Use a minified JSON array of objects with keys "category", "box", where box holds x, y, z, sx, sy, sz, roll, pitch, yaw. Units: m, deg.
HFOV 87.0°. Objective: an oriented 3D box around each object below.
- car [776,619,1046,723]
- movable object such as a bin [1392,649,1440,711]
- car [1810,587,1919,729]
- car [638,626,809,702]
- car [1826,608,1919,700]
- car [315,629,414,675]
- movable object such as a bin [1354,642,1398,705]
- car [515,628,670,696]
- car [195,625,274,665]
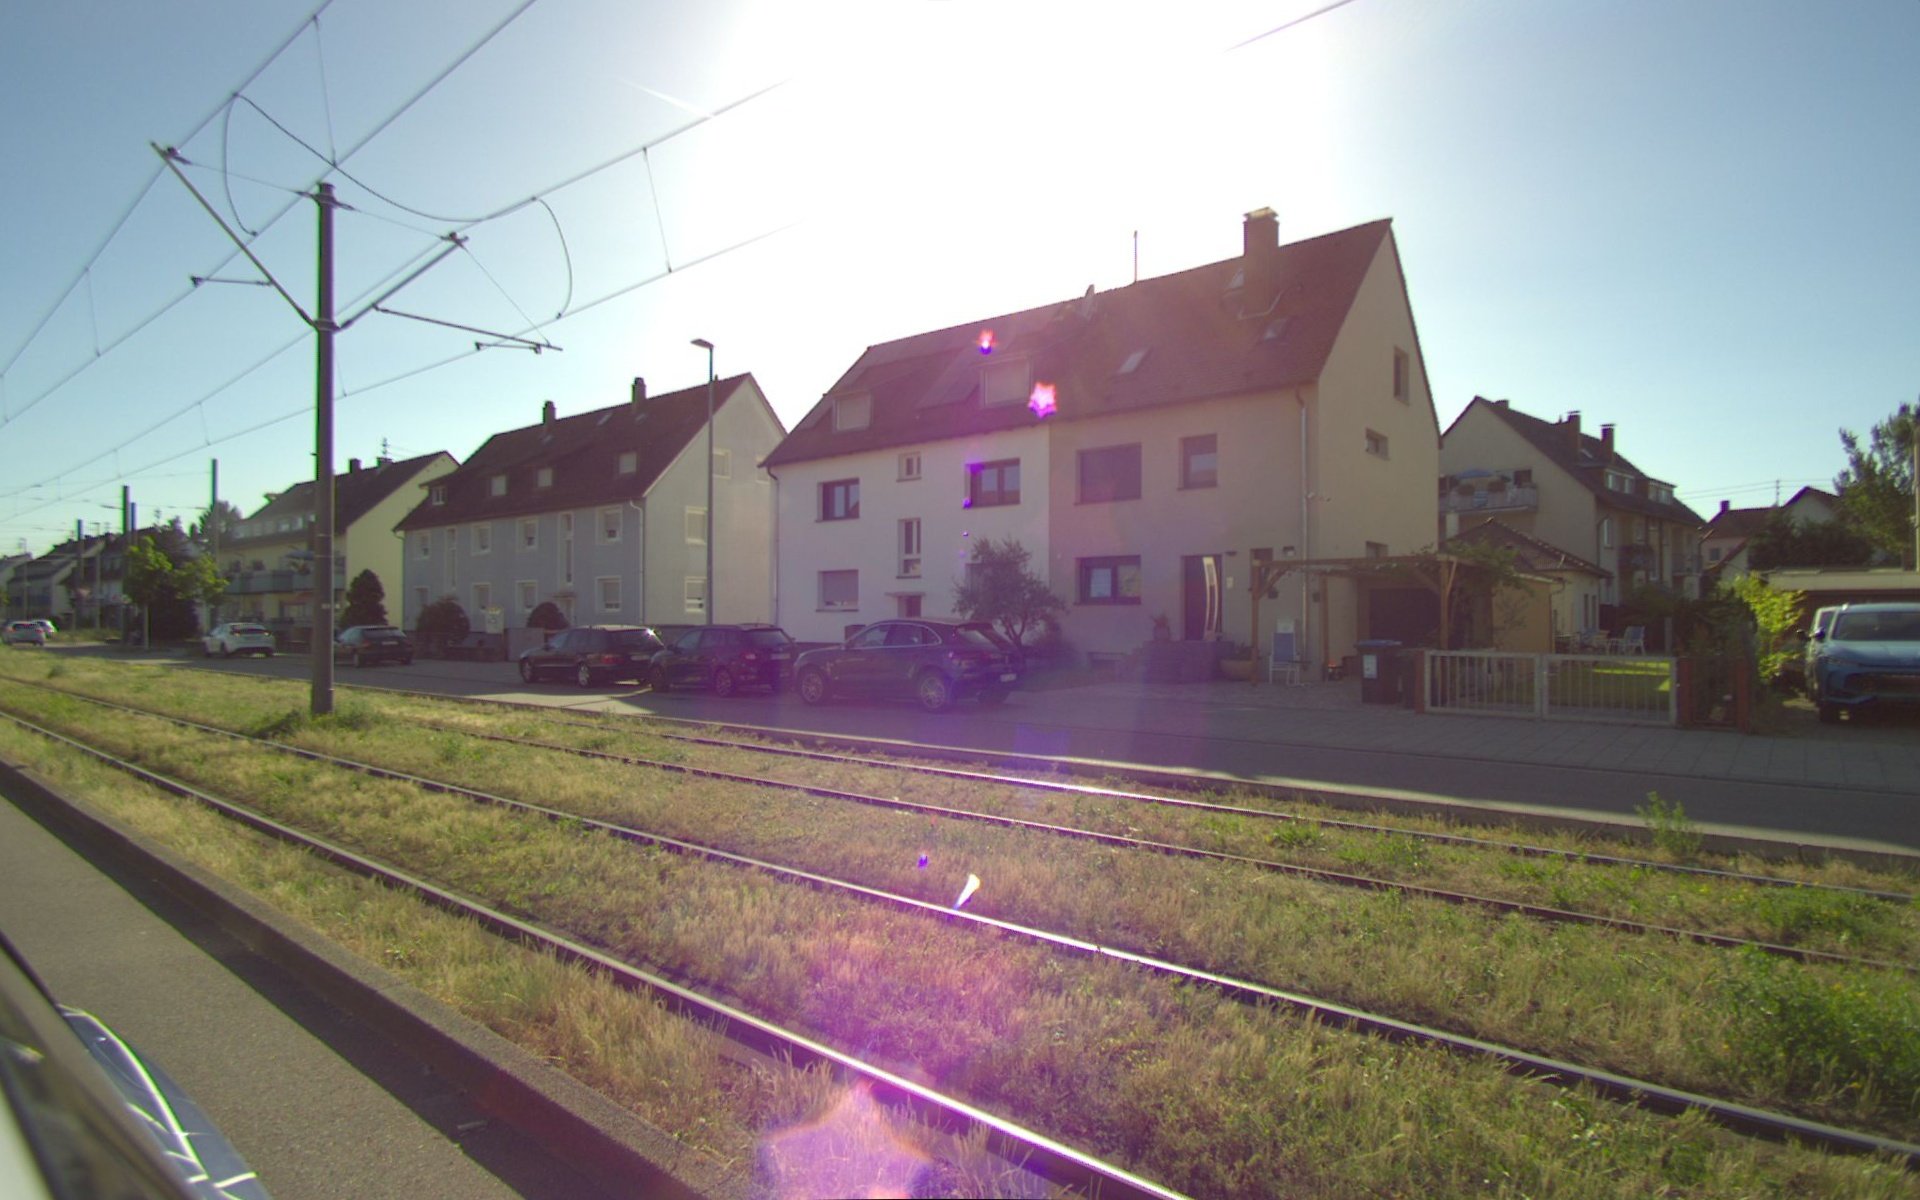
[{"category":"car","box":[-0.993,1.159,18.138,4.855,1.572,1.901,-1,0,40]},{"category":"movable object such as a bin","box":[7.158,1.247,15.890,0.607,0.954,0.196,-3,-2,44]},{"category":"car","box":[13.586,0.763,14.559,1.969,1.797,4.346,-2,-2,41]},{"category":"car","box":[-5.089,1.319,21.484,3.995,1.479,1.450,-2,-3,40]},{"category":"car","box":[17.656,0.972,19.396,1.508,1.605,3.796,-2,-2,40]},{"category":"car","box":[-20.263,1.720,34.399,4.090,1.408,1.683,-1,0,41]},{"category":"movable object such as a bin","box":[6.949,1.224,16.927,0.607,1.021,0.196,-3,-2,44]},{"category":"car","box":[-9.095,1.448,24.864,4.398,1.466,1.636,-1,0,41]},{"category":"car","box":[-30.870,1.890,43.035,4.090,1.542,1.808,-1,0,41]}]
